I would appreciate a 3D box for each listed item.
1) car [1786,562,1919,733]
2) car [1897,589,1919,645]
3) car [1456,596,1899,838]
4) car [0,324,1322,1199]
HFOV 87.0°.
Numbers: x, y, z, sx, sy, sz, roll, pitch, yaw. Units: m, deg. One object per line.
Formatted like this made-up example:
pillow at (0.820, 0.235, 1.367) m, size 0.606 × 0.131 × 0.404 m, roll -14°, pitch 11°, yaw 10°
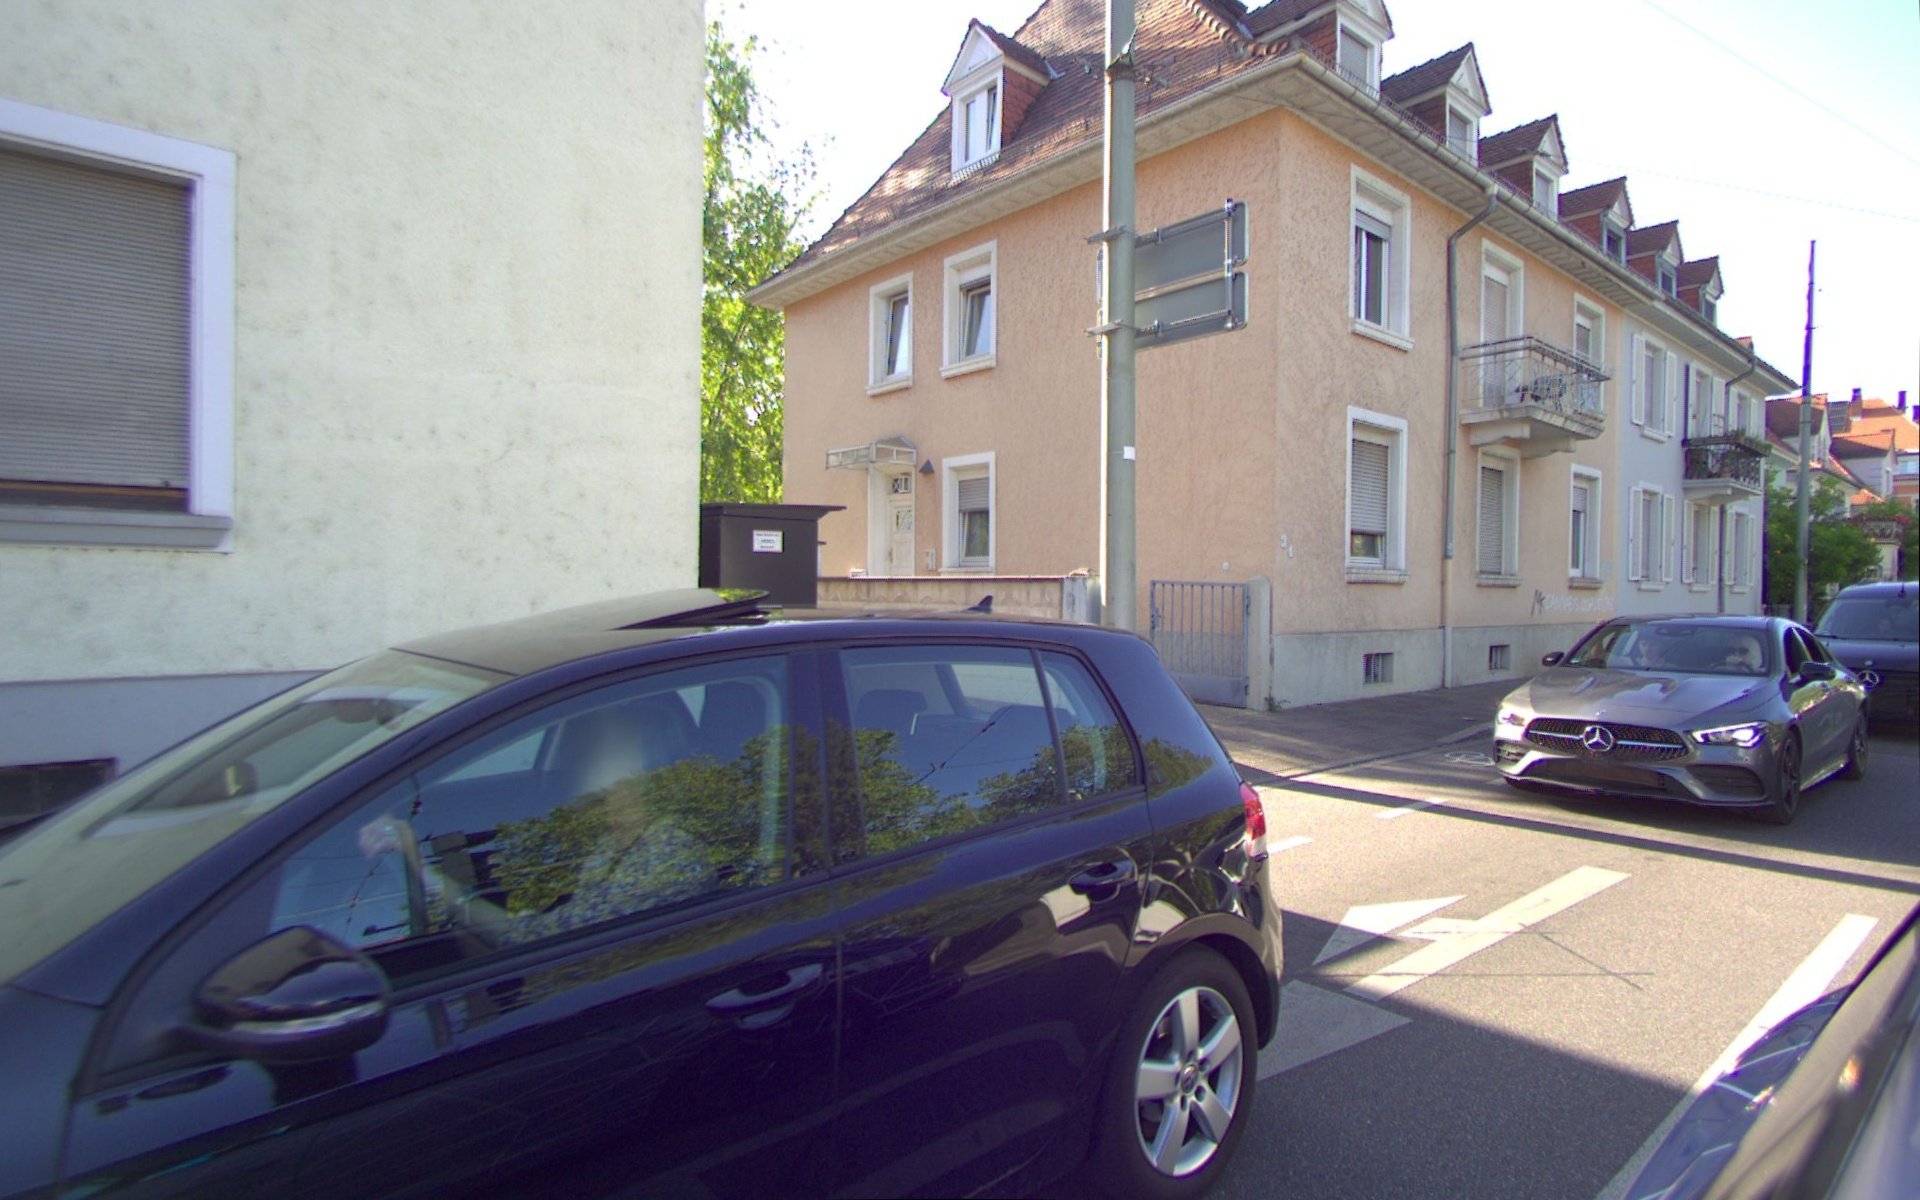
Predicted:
car at (11.873, 0.483, 12.459) m, size 4.695 × 1.827 × 1.864 m, roll -1°, pitch 0°, yaw -41°
car at (27.010, 0.430, 27.502) m, size 3.930 × 1.476 × 1.839 m, roll -1°, pitch 0°, yaw -41°
car at (6.040, 0.701, 8.312) m, size 4.413 × 1.437 × 1.911 m, roll -1°, pitch 1°, yaw -40°
car at (-1.011, 0.475, 2.307) m, size 3.979 × 1.527 × 1.731 m, roll 2°, pitch -1°, yaw -41°
